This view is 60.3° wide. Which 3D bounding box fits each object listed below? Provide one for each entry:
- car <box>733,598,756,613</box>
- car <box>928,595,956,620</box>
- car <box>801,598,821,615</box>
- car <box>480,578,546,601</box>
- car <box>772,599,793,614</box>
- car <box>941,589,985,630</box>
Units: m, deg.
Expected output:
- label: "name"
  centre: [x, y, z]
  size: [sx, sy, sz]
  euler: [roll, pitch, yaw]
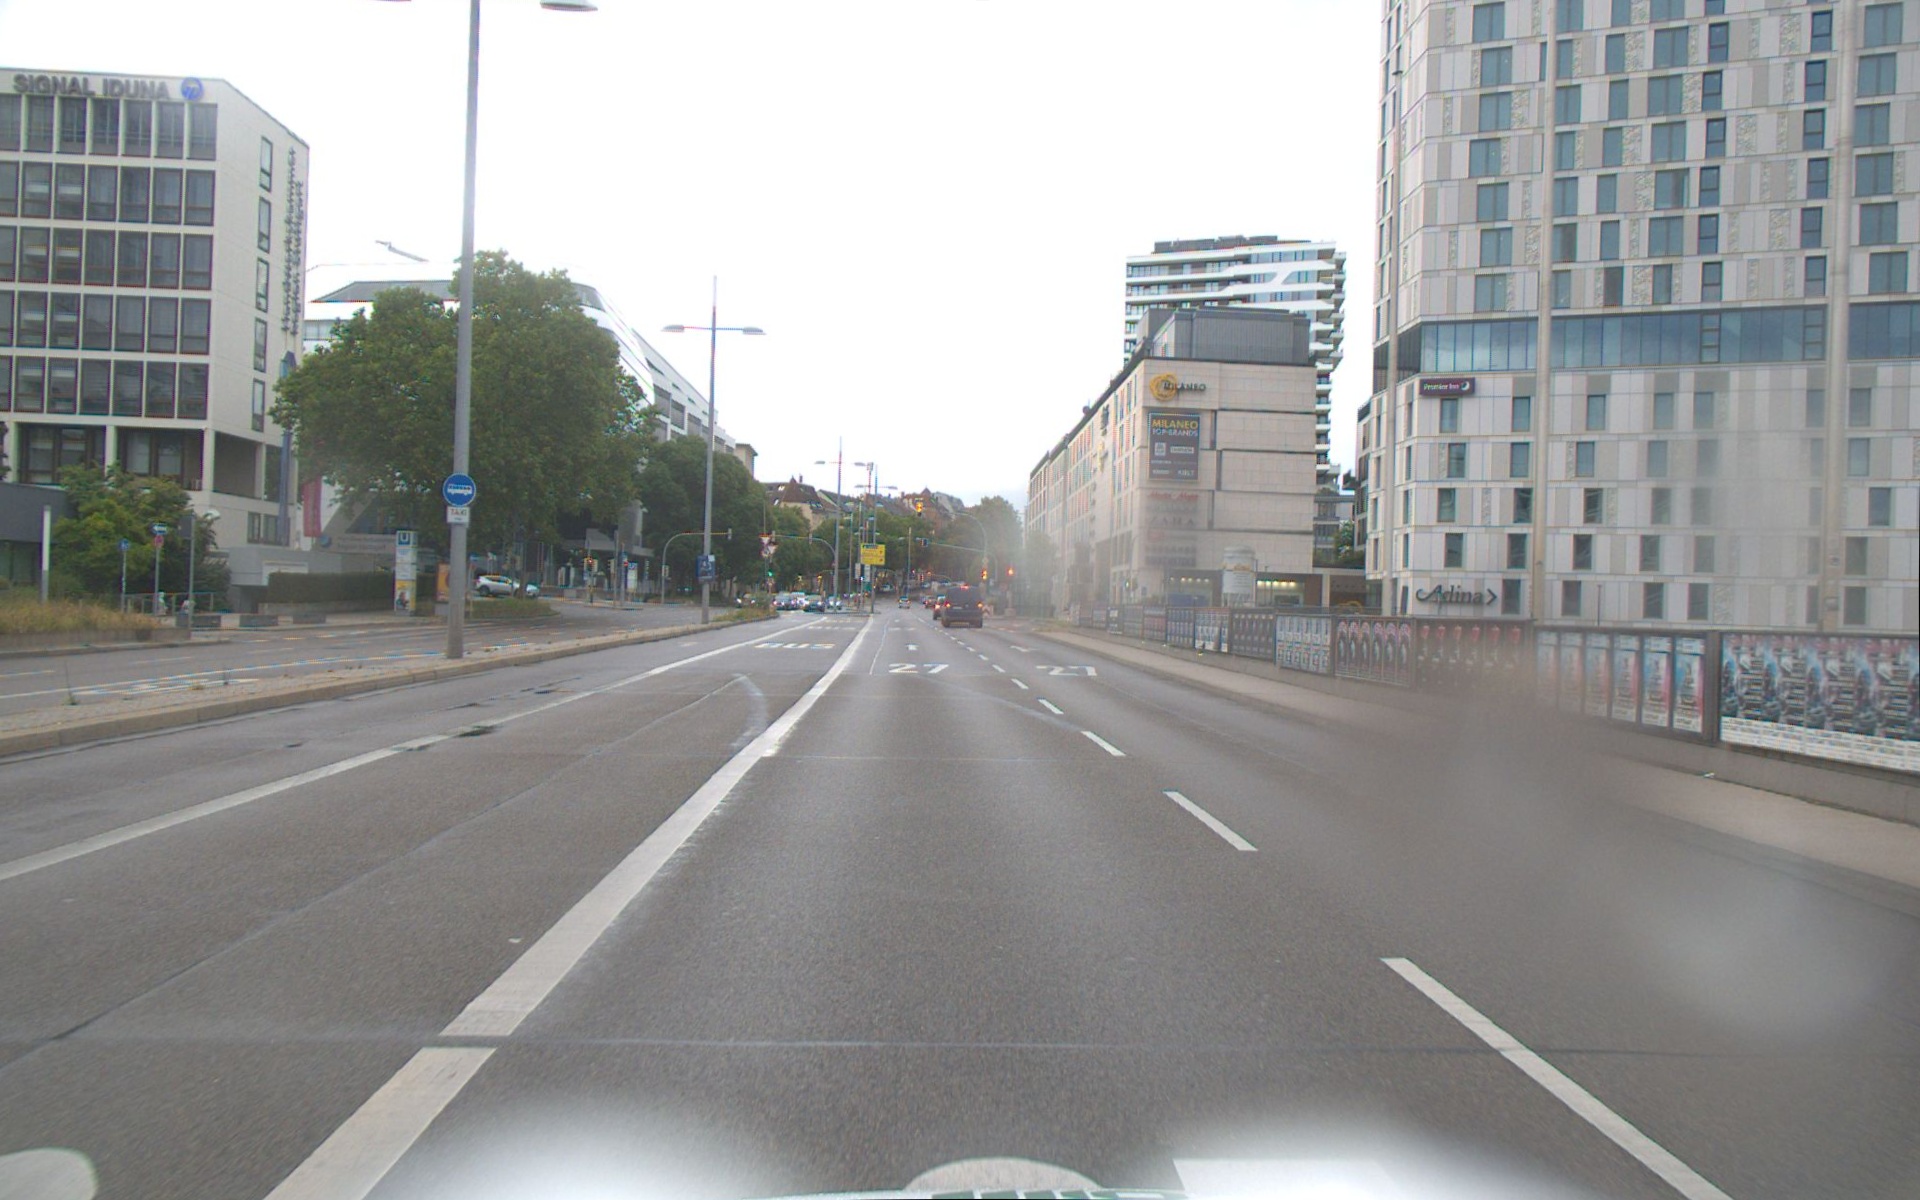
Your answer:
- label: "car"
  centre: [-19.921, 0.521, 152.831]
  size: [1.708, 1.352, 4.223]
  euler: [1, -1, -2]
- label: "car"
  centre: [-1.203, 0.506, 106.825]
  size: [1.705, 1.558, 3.812]
  euler: [1, -1, -2]
- label: "car"
  centre: [-13.718, 0.620, 152.385]
  size: [1.708, 1.470, 3.393]
  euler: [1, -1, -2]
- label: "car"
  centre: [-33.783, -0.825, 124.954]
  size: [4.405, 1.660, 1.896]
  euler: [0, -1, 14]
- label: "car"
  centre: [-16.454, 0.610, 153.373]
  size: [1.708, 1.279, 3.538]
  euler: [2, 0, -2]
- label: "car"
  centre: [0.119, 0.429, 82.402]
  size: [1.992, 1.915, 5.040]
  euler: [-2, 1, -2]
